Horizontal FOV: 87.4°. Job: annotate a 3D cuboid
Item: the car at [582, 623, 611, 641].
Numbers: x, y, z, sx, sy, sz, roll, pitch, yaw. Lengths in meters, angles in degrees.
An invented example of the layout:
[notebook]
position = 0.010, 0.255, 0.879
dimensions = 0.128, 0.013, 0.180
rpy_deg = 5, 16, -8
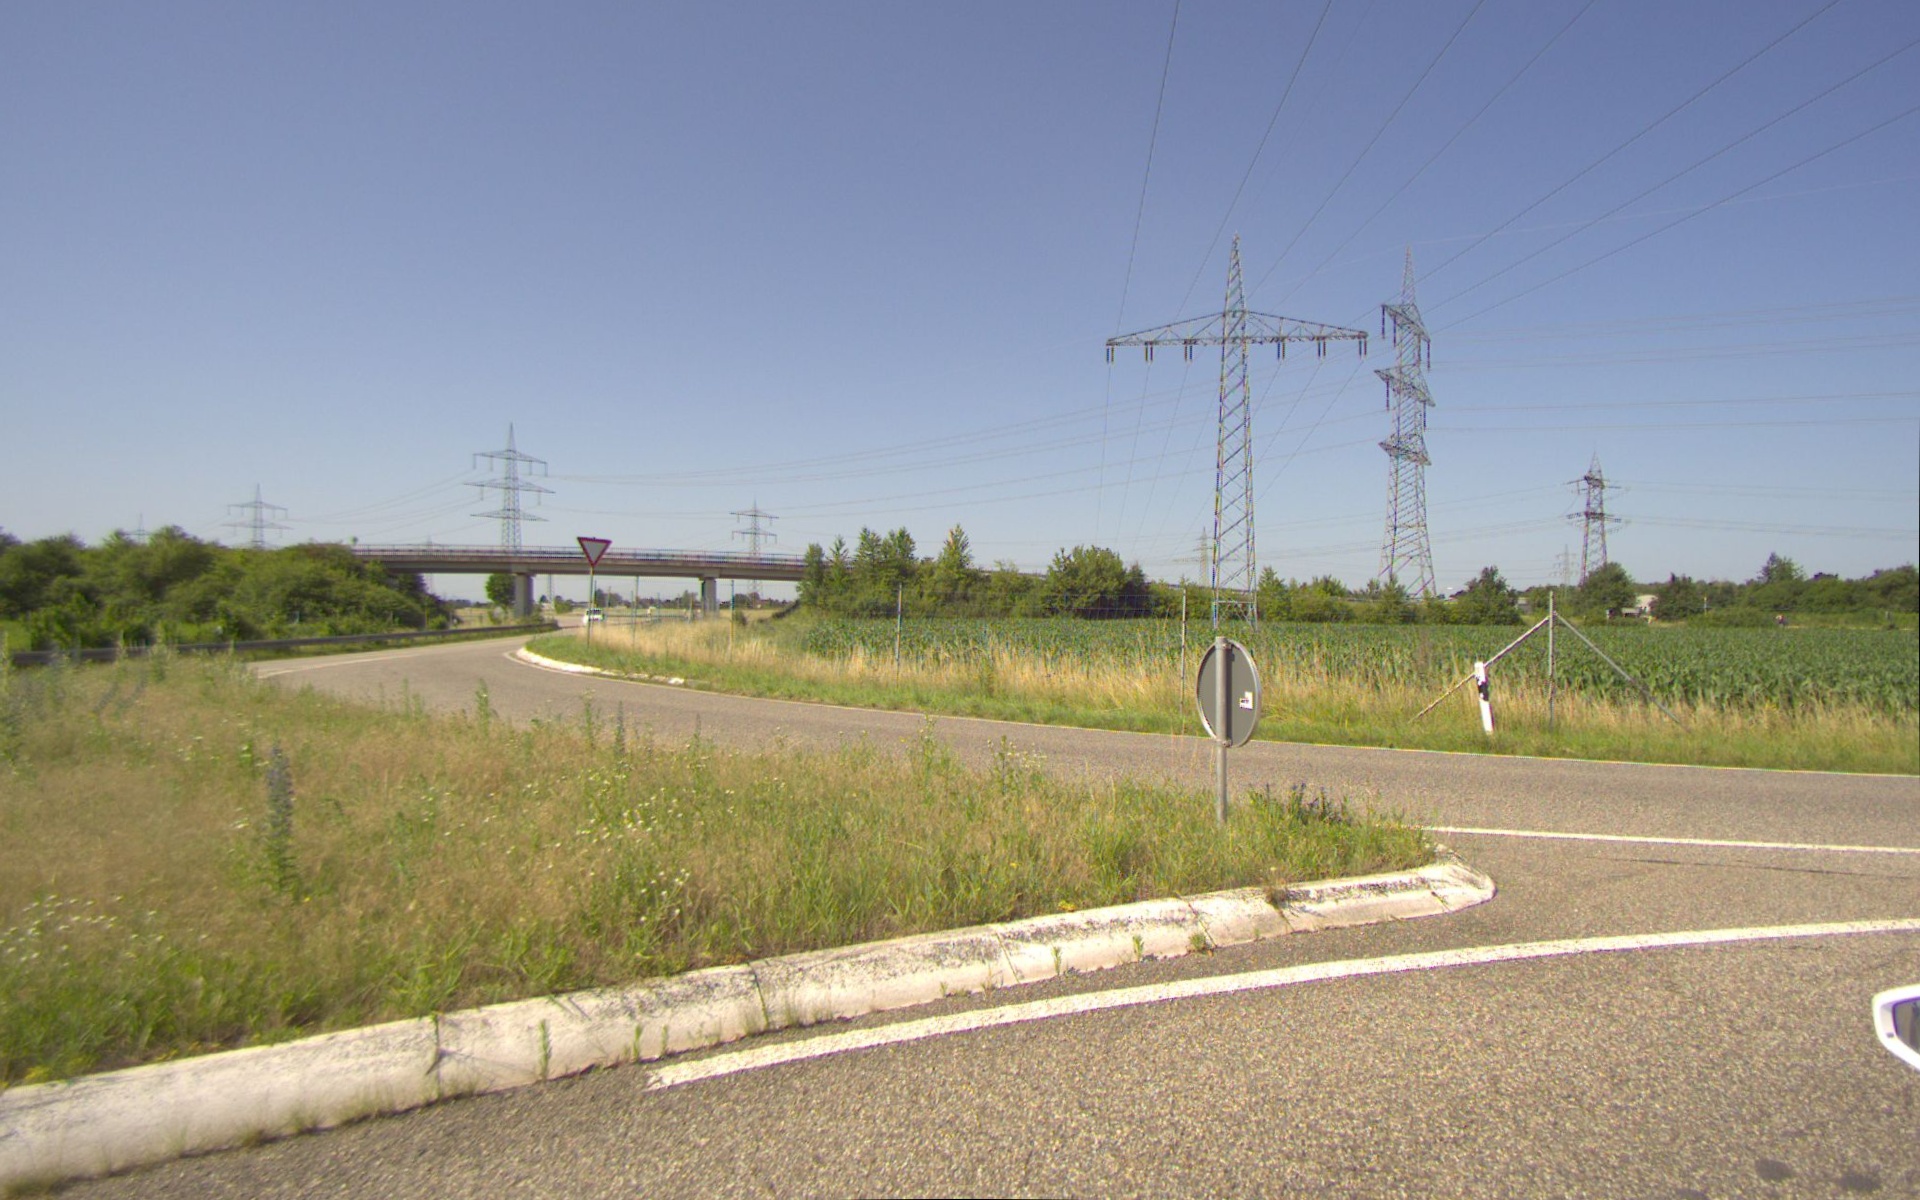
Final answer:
[car]
position = -36.824, 3.216, 101.892
dimensions = 2.066, 1.662, 5.340
rpy_deg = 1, 0, -13
